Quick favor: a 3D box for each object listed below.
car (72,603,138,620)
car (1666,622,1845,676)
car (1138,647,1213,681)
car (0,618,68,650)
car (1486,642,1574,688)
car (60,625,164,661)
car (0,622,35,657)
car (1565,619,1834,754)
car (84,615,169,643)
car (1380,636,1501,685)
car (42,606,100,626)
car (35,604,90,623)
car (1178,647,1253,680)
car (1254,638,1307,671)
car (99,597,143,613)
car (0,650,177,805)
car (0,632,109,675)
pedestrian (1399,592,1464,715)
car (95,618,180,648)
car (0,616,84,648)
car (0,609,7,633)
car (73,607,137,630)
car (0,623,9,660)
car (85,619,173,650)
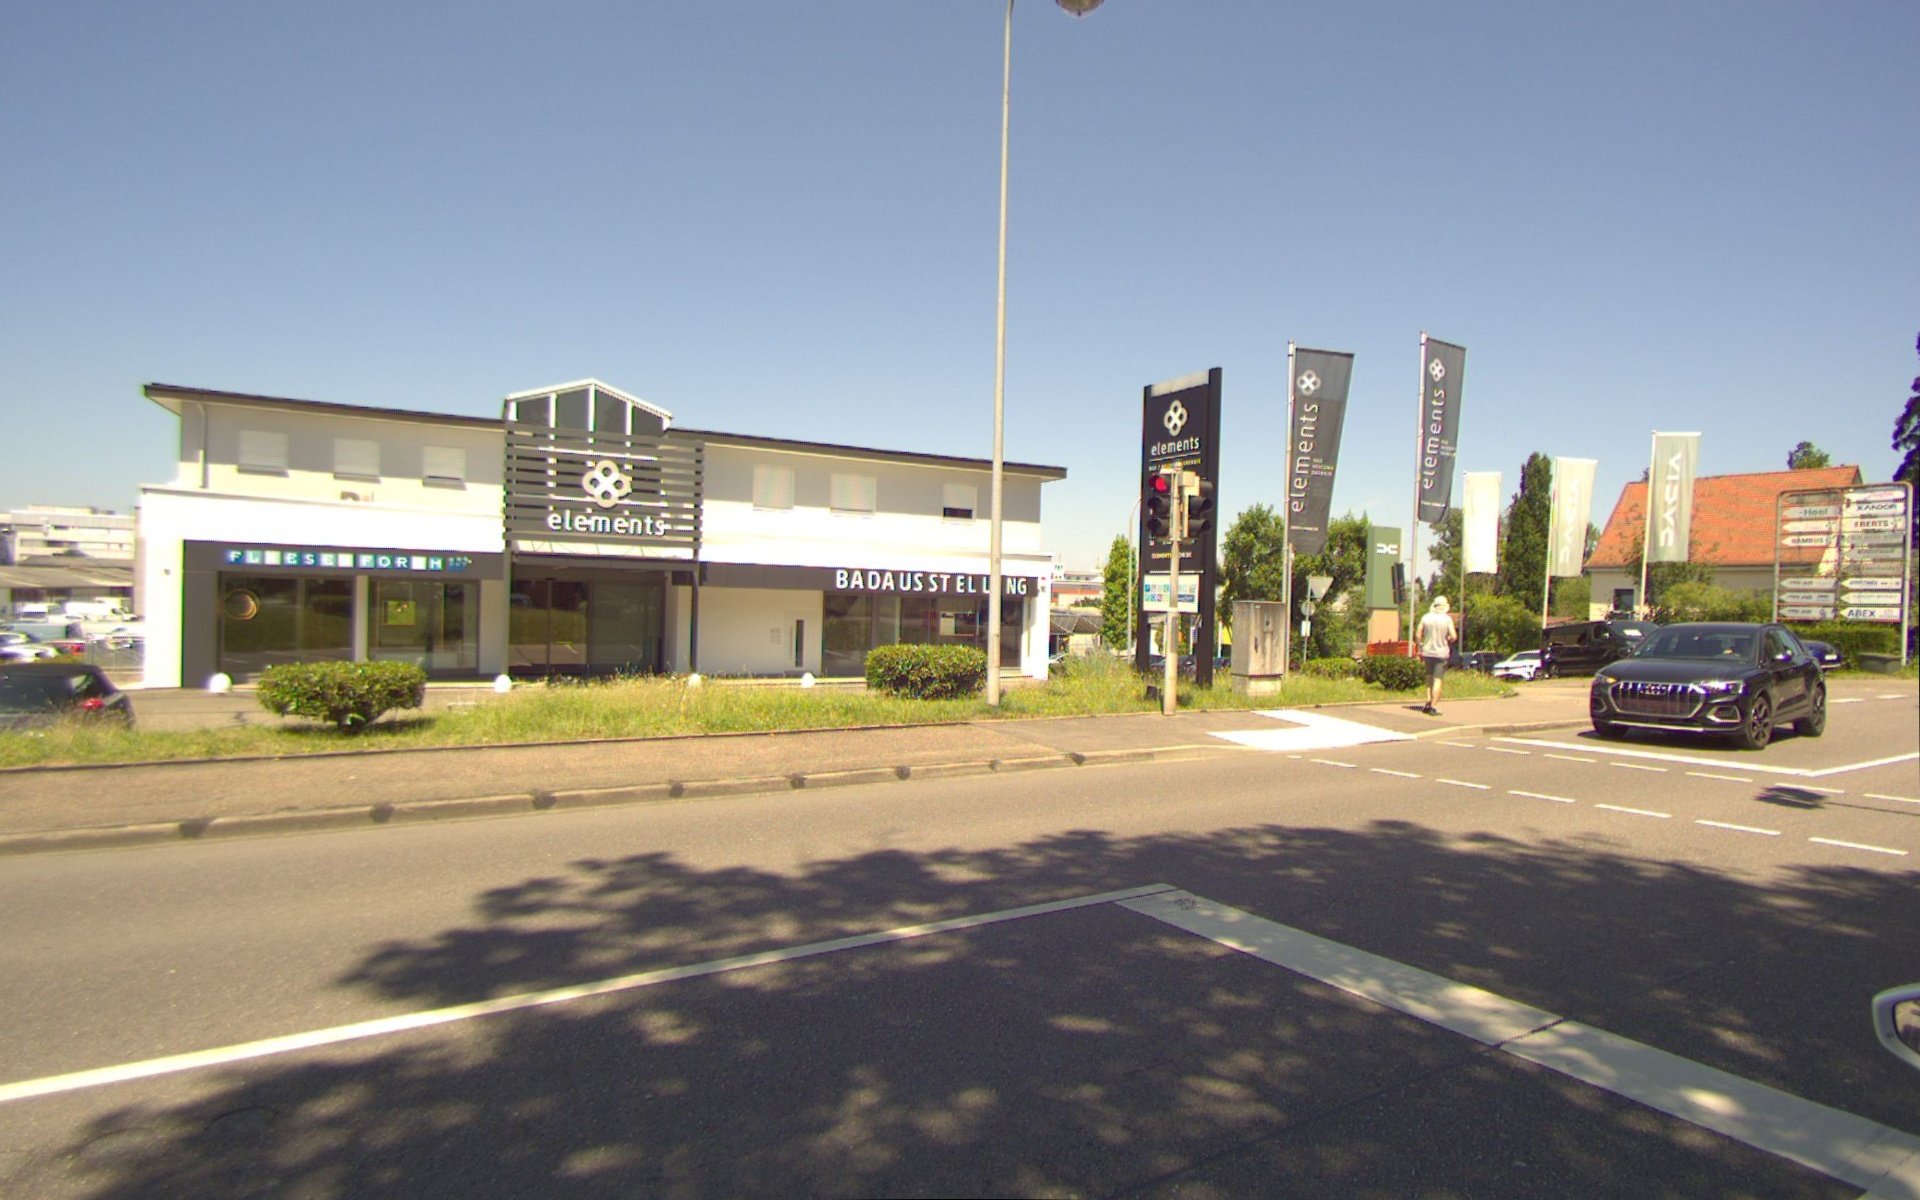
[{"bbox_3d":[-95.715,1.300,112.483,5.236,1.778,2.051,2,-1,-28],"label":"car"},{"bbox_3d":[24.908,1.487,31.631,1.751,1.524,4.129,1,-1,-20],"label":"car"},{"bbox_3d":[10.773,3.150,50.113,3.973,1.506,1.735,2,-1,-44],"label":"car"},{"bbox_3d":[-53.445,1.930,57.099,3.726,1.778,1.719,2,-1,-28],"label":"car"},{"bbox_3d":[23.946,2.679,42.167,4.053,1.744,1.795,2,0,-38],"label":"car"},{"bbox_3d":[-43.646,2.207,51.792,3.726,1.778,1.719,2,-1,-28],"label":"car"},{"bbox_3d":[-51.423,2.061,52.791,3.726,1.778,1.719,2,-1,-28],"label":"car"},{"bbox_3d":[10.444,1.105,14.090,4.263,1.576,1.912,2,-1,-37],"label":"car"},{"bbox_3d":[-55.246,1.921,66.683,4.004,1.778,1.719,2,-1,-28],"label":"car"},{"bbox_3d":[18.530,2.320,38.750,4.022,1.744,1.808,2,0,-16],"label":"car"},{"bbox_3d":[-83.395,1.464,94.288,3.725,1.778,1.719,1,0,-27],"label":"car"},{"bbox_3d":[-88.189,1.312,98.768,3.726,1.778,1.719,1,1,-28],"label":"car"},{"bbox_3d":[12.162,2.981,47.716,3.839,1.434,1.632,2,-1,-42],"label":"car"},{"bbox_3d":[18.798,3.137,58.793,1.785,1.744,4.075,2,0,36],"label":"car"},{"bbox_3d":[-99.743,0.607,119.490,3.726,1.778,1.719,2,-1,-28],"label":"car"},{"bbox_3d":[-11.789,1.505,12.915,1.746,1.553,4.076,1,-1,-24],"label":"car"},{"bbox_3d":[-39.384,2.296,43.322,3.726,1.778,1.719,2,-1,-28],"label":"car"},{"bbox_3d":[7.027,0.784,14.987,0.689,1.785,0.545,1,0,-4],"label":"pedestrian"},{"bbox_3d":[-50.644,2.043,61.945,3.726,1.778,1.719,2,-1,-28],"label":"car"},{"bbox_3d":[-54.840,1.904,59.794,3.726,1.778,1.719,2,-1,-28],"label":"car"},{"bbox_3d":[-74.804,1.562,75.836,3.726,1.778,1.719,2,0,-28],"label":"car"},{"bbox_3d":[-71.013,1.507,83.481,3.726,1.778,1.719,2,1,-28],"label":"car"},{"bbox_3d":[-49.202,2.027,48.968,3.726,1.778,1.719,2,-1,-28],"label":"car"},{"bbox_3d":[-49.333,2.071,59.709,3.726,1.778,1.719,2,-1,-28],"label":"car"}]
